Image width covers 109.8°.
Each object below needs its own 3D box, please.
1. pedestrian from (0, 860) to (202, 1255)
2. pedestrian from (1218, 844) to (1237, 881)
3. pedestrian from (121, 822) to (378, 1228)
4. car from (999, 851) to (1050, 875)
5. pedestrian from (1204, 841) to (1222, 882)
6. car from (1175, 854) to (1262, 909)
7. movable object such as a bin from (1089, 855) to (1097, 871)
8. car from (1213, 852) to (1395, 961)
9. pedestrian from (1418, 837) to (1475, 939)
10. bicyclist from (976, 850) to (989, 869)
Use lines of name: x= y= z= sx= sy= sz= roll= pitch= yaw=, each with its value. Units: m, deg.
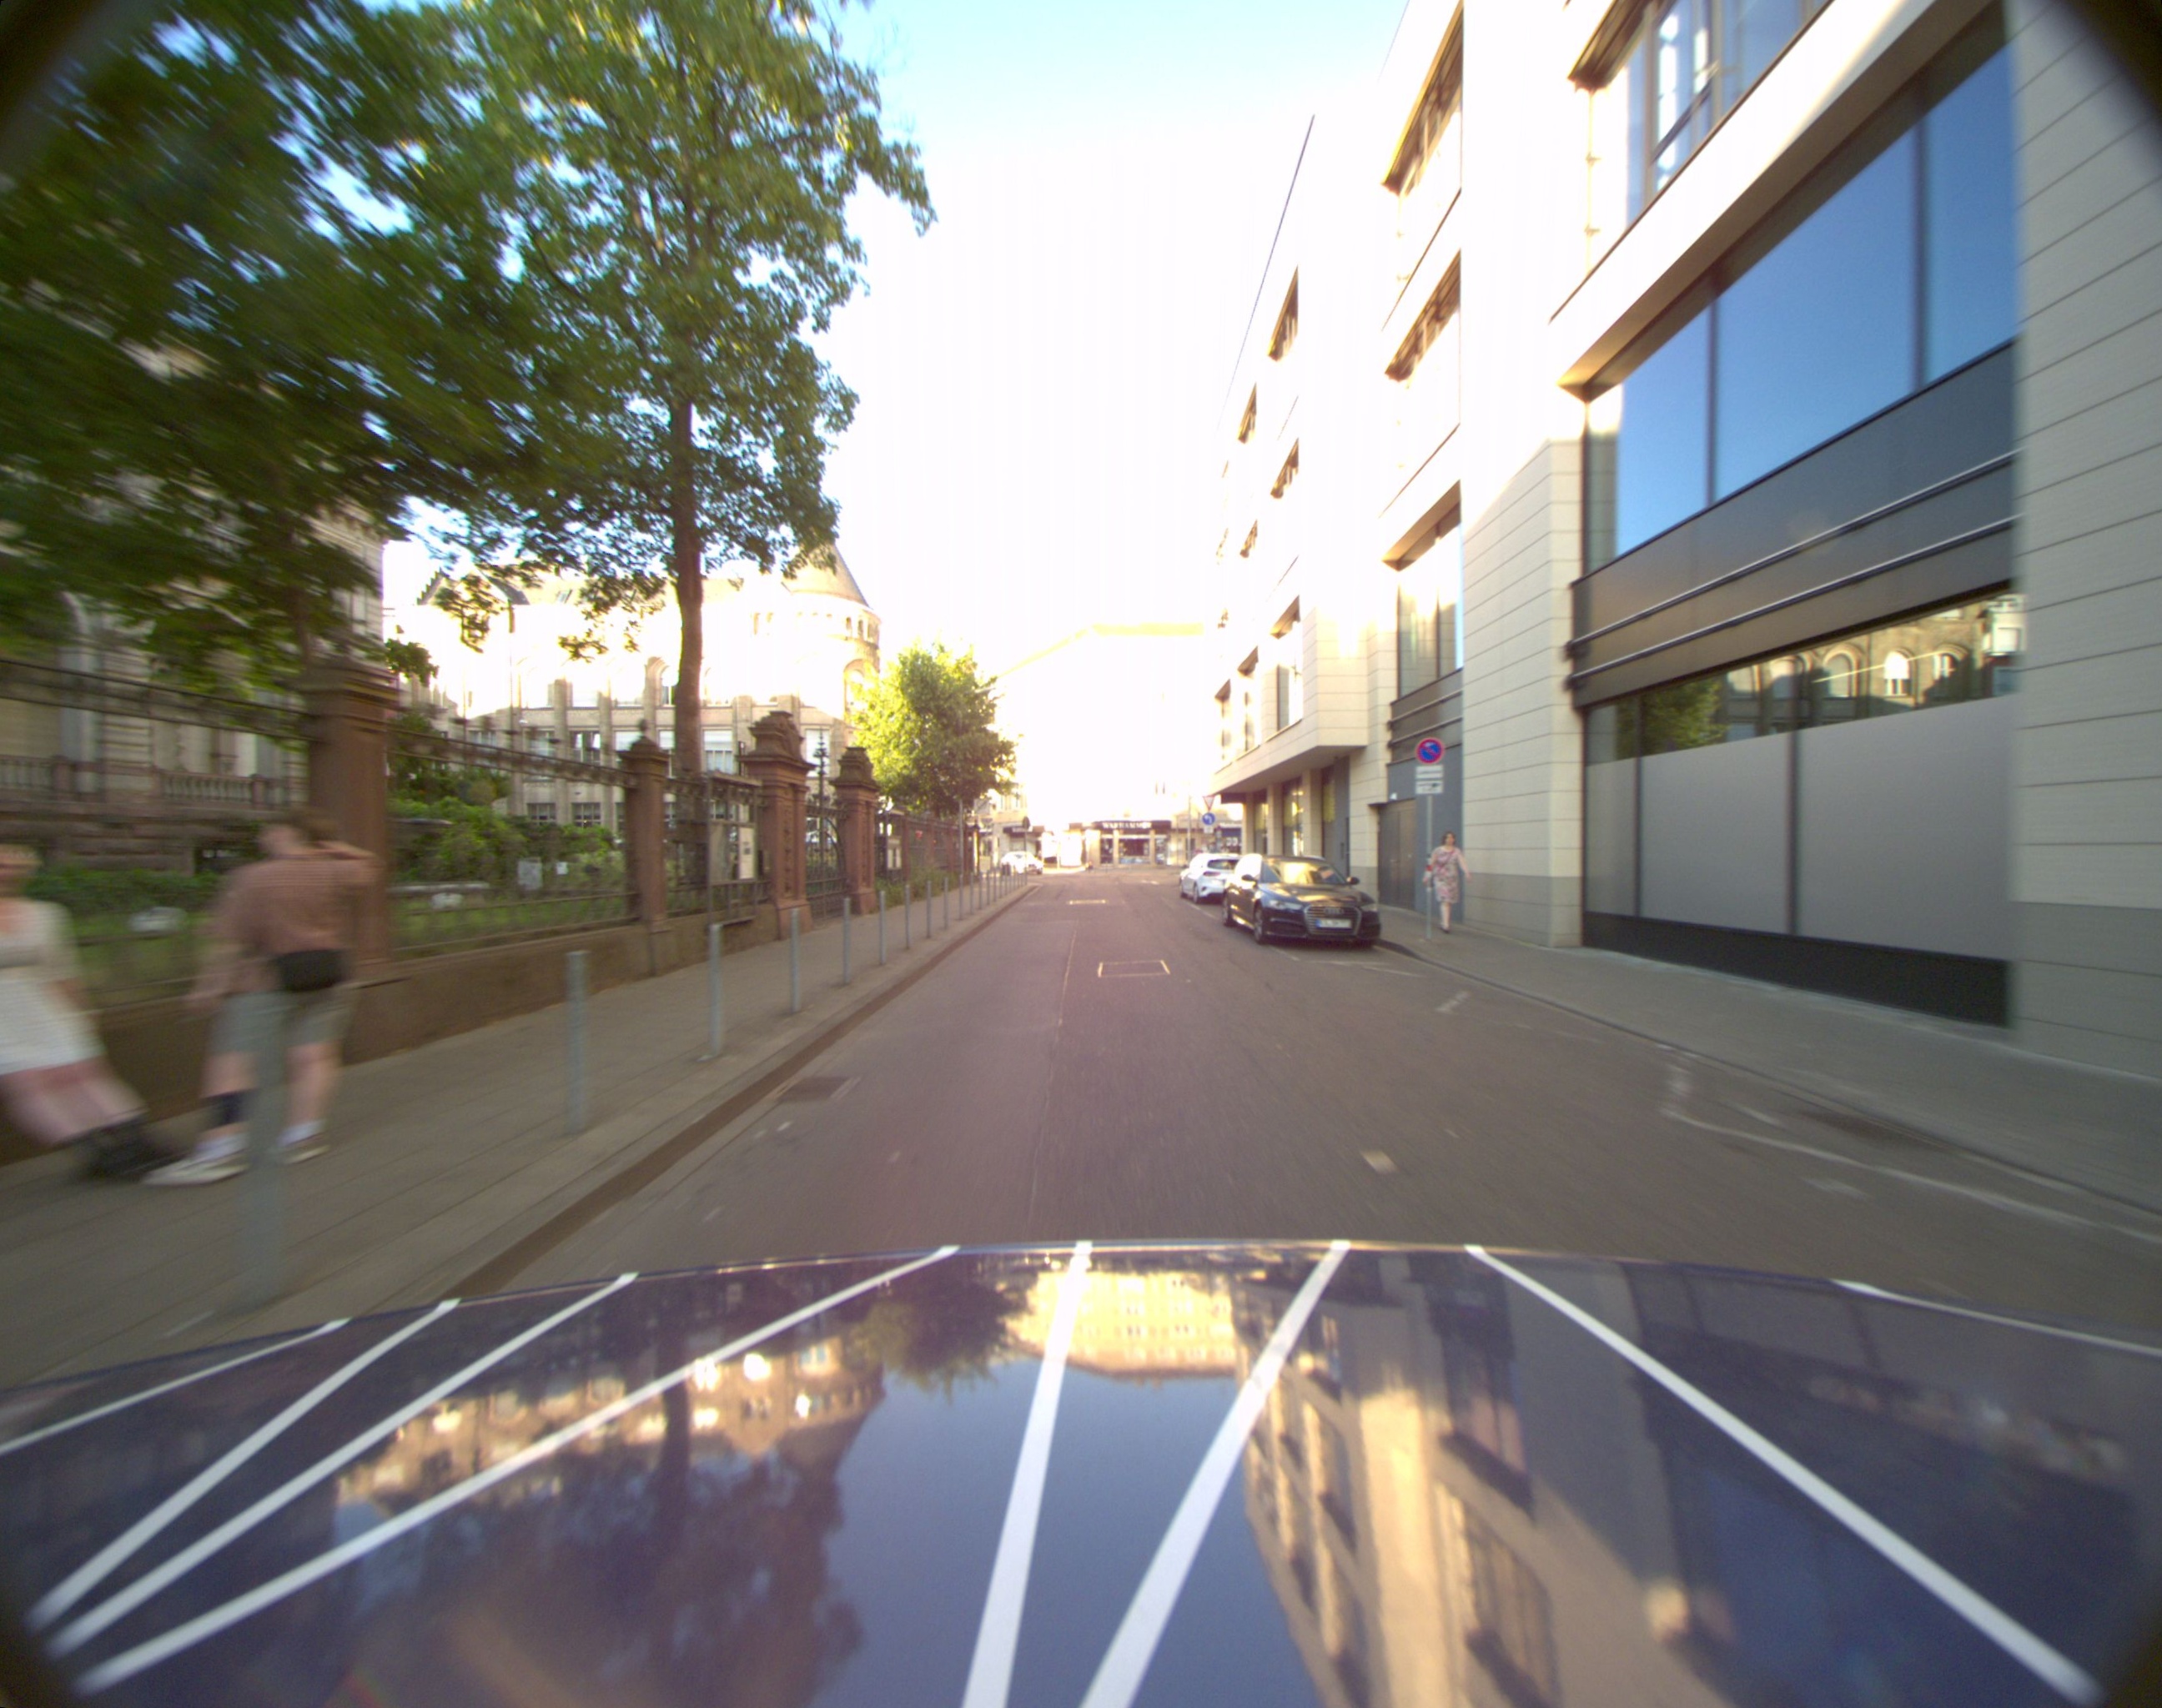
pedestrian: x=-4.429 y=0.784 z=3.186 sx=0.751 sy=1.491 sz=0.618 roll=1 pitch=1 yaw=-5
pedestrian: x=6.605 y=0.368 z=34.245 sx=0.674 sy=1.665 sz=0.647 roll=-1 pitch=1 yaw=-2
pedestrian: x=-3.677 y=0.698 z=3.410 sx=0.485 sy=1.648 sz=0.618 roll=1 pitch=1 yaw=-7
car: x=-3.608 y=0.507 z=47.842 sx=2.002 sy=1.414 sz=4.450 roll=-1 pitch=1 yaw=-20
pedestrian: x=5.926 y=0.315 z=34.210 sx=0.674 sy=1.826 sz=0.647 roll=-1 pitch=1 yaw=-2
car: x=3.999 y=0.736 z=22.821 sx=1.782 sy=1.444 sz=4.230 roll=-1 pitch=1 yaw=-1
movable object such as a bin: x=0.826 y=0.633 z=53.010 sx=0.361 sy=1.057 sz=0.355 roll=-2 pitch=2 yaw=-41
car: x=3.735 y=0.777 z=13.682 sx=1.888 sy=1.589 sz=4.688 roll=-1 pitch=1 yaw=0
pedestrian: x=6.334 y=0.576 z=13.204 sx=0.673 sy=1.734 sz=0.647 roll=0 pitch=1 yaw=0
bicyclist: x=-8.410 y=0.451 z=64.778 sx=0.661 sy=1.562 sz=0.861 roll=-2 pitch=2 yaw=-39
